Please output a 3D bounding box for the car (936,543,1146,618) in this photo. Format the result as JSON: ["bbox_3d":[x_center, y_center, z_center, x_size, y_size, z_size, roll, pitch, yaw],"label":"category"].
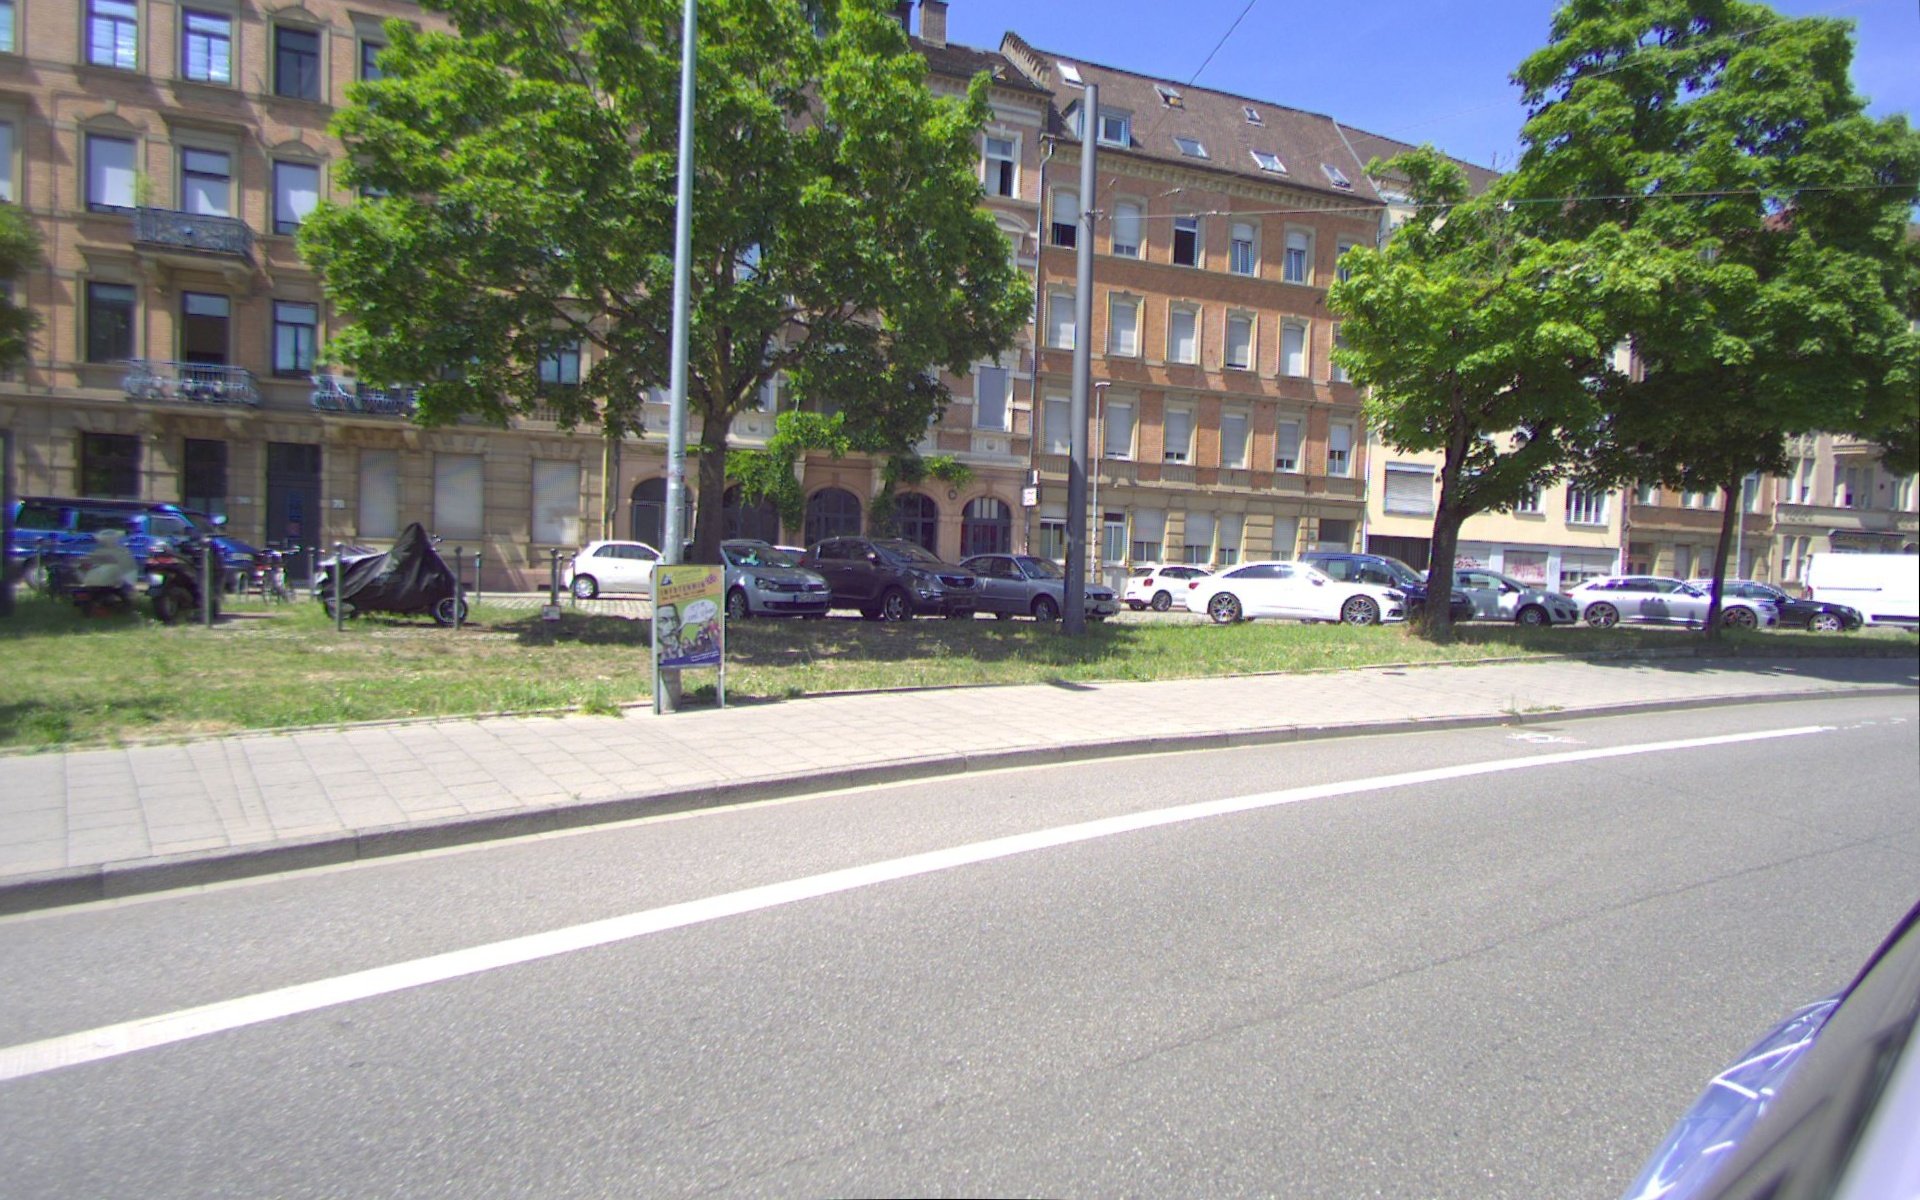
[{"bbox_3d":[1.515,-0.391,20.163,1.937,1.330,3.996,1,1,-40],"label":"car"}]

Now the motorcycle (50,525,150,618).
[{"bbox_3d":[-11.308,-0.372,13.355,0.517,1.134,1.831,1,1,-25],"label":"motorcycle"}]

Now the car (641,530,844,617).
[{"bbox_3d":[-4.033,-0.484,18.286,1.556,1.393,4.338,1,1,-44],"label":"car"}]

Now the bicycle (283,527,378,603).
[{"bbox_3d":[-11.020,-0.594,17.804,0.618,1.251,2.088,1,1,-8],"label":"bicycle"}]

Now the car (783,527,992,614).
[{"bbox_3d":[-1.475,-0.553,19.429,4.081,1.488,1.769,2,1,45],"label":"car"}]

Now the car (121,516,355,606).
[{"bbox_3d":[-12.800,-0.661,18.295,1.916,1.393,4.008,1,1,-10],"label":"car"}]

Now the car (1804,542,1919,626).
[{"bbox_3d":[29.404,-0.467,30.756,5.517,2.491,2.209,2,1,36],"label":"car"}]

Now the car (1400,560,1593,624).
[{"bbox_3d":[13.058,-0.228,24.724,3.976,1.417,1.690,2,1,36],"label":"car"}]

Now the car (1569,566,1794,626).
[{"bbox_3d":[18.922,-0.147,26.776,4.664,1.445,1.947,2,1,36],"label":"car"}]

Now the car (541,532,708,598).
[{"bbox_3d":[-8.589,-0.873,26.137,3.915,1.549,1.846,1,1,-16],"label":"car"}]

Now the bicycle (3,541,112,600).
[{"bbox_3d":[-13.106,-0.434,14.699,1.436,0.815,0.496,1,1,16],"label":"bicycle"}]

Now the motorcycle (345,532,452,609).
[{"bbox_3d":[-9.810,-0.519,17.789,0.796,1.251,2.087,1,1,-3],"label":"motorcycle"}]

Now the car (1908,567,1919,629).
[{"bbox_3d":[32.927,-0.007,31.582,4.832,1.998,2.044,2,1,43],"label":"car"}]

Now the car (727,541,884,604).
[{"bbox_3d":[-4.207,-0.721,27.488,3.916,1.549,1.846,1,1,-20],"label":"car"}]

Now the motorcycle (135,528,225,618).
[{"bbox_3d":[-10.444,-0.358,13.593,0.468,1.134,1.529,1,1,-18],"label":"motorcycle"}]

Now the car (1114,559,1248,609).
[{"bbox_3d":[6.803,-0.498,31.249,3.637,1.438,1.789,1,1,-19],"label":"car"}]

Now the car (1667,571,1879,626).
[{"bbox_3d":[22.199,-0.080,27.899,4.404,1.355,1.947,2,1,36],"label":"car"}]

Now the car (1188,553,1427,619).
[{"bbox_3d":[7.753,-0.347,22.675,4.749,1.330,2.126,2,1,31],"label":"car"}]

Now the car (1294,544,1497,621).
[{"bbox_3d":[10.295,-0.431,24.095,1.939,1.683,3.991,1,1,-44],"label":"car"}]

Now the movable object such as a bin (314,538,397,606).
[{"bbox_3d":[-8.837,-0.412,14.831,0.687,0.948,0.990,1,1,-7],"label":"movable object such as a bin"}]

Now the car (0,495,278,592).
[{"bbox_3d":[-18.244,-1.205,22.668,4.555,1.927,1.930,1,1,-18],"label":"car"}]

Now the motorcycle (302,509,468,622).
[{"bbox_3d":[-7.661,-0.457,13.567,1.817,1.430,0.679,1,2,-17],"label":"motorcycle"}]
